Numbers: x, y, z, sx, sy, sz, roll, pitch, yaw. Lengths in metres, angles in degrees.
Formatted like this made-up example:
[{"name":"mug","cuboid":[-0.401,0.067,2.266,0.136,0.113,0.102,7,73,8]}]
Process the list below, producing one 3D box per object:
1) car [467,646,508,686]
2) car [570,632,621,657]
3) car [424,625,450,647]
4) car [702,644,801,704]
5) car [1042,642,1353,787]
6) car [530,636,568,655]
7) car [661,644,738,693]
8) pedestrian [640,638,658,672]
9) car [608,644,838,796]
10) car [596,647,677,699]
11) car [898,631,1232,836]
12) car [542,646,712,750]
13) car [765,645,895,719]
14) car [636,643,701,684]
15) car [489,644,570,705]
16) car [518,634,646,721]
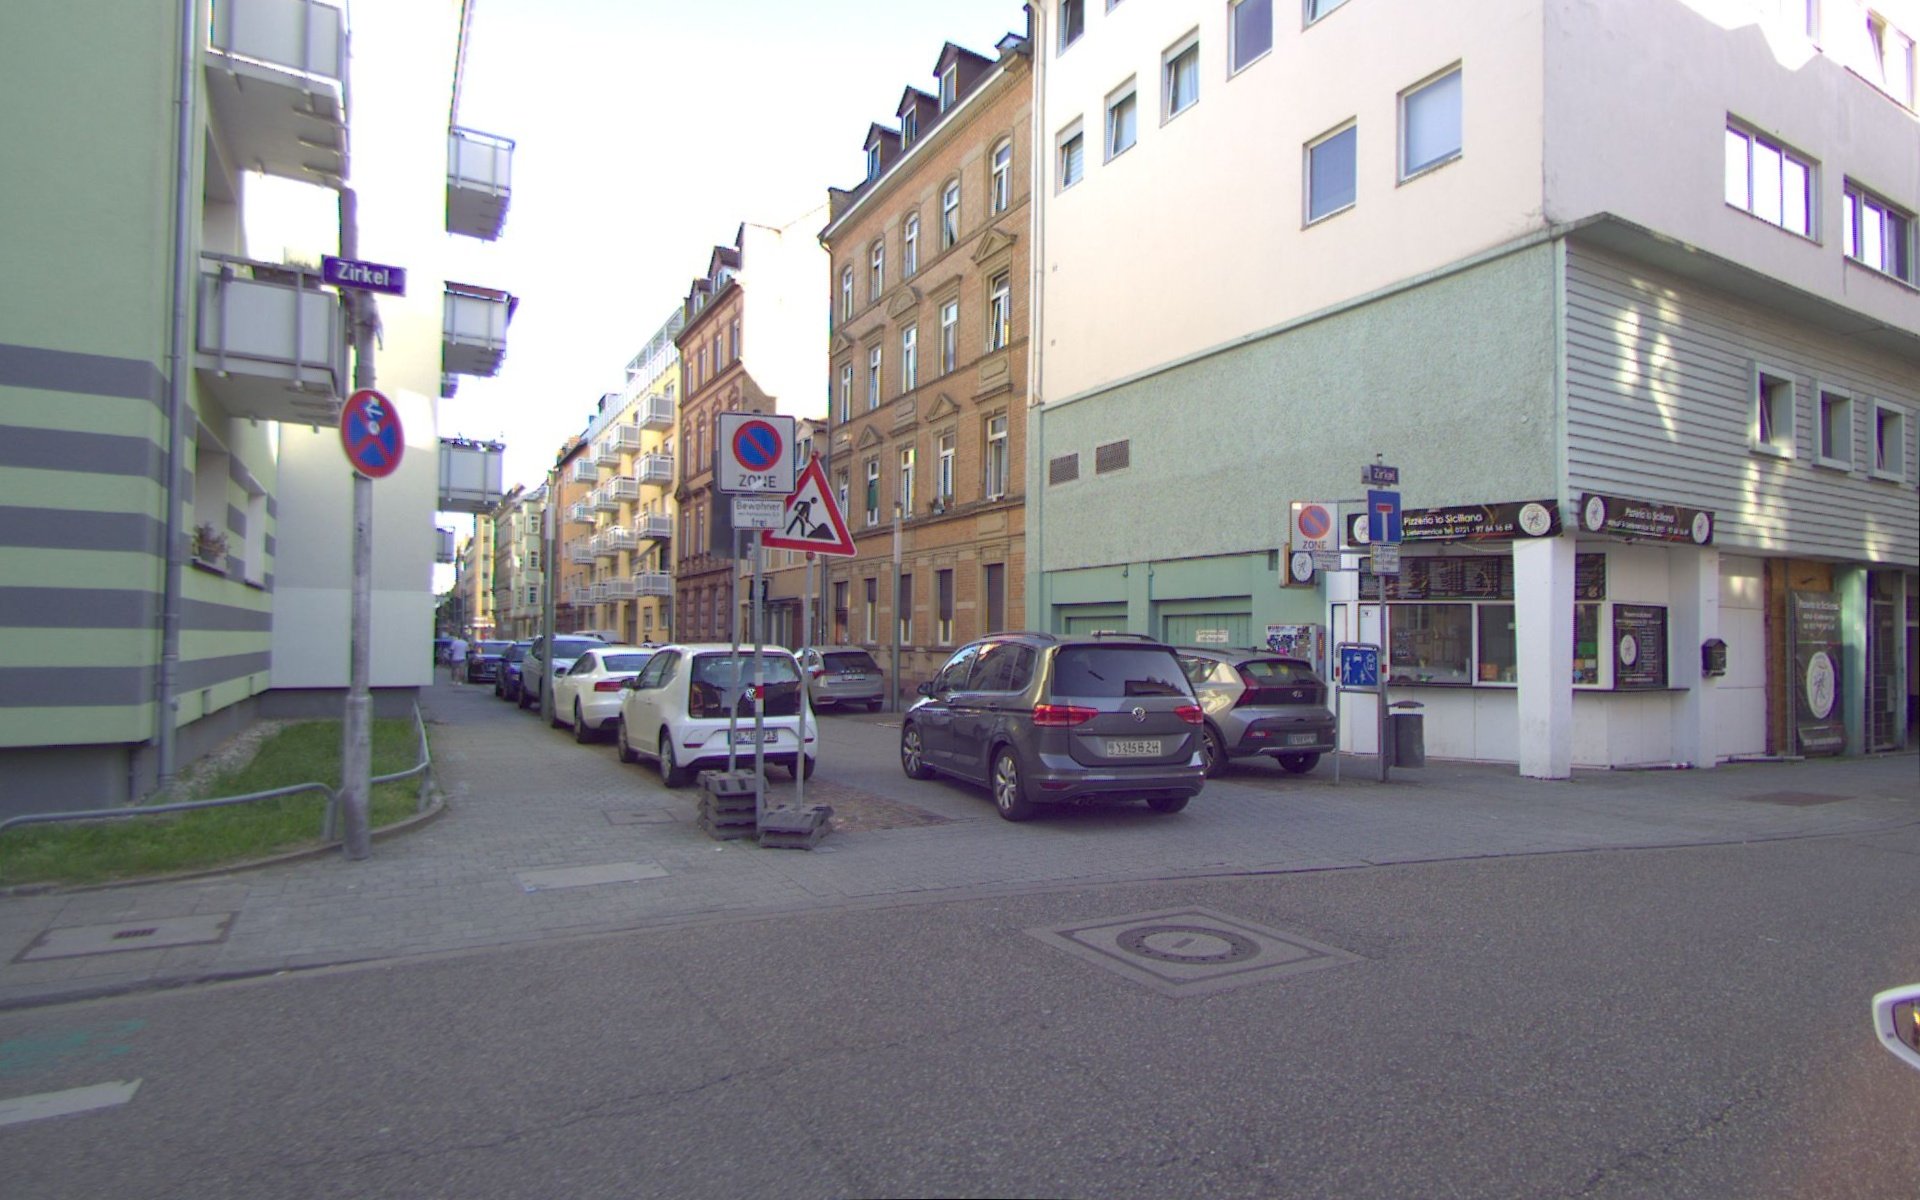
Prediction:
[{"name":"car","cuboid":[-16.494,2.267,35.031,1.242,1.307,3.063,0,-2,-26]},{"name":"car","cuboid":[-18.507,2.232,50.991,1.768,1.202,3.055,1,-2,-34]},{"name":"car","cuboid":[-37.896,2.603,72.777,1.566,1.527,3.873,2,-3,-28]},{"name":"car","cuboid":[-5.923,2.021,28.264,1.764,1.501,3.886,0,-2,-27]},{"name":"car","cuboid":[2.865,1.326,12.932,1.673,1.540,3.913,2,-3,-30]},{"name":"car","cuboid":[-26.807,2.966,65.446,1.768,1.202,3.055,1,-2,-34]},{"name":"car","cuboid":[-8.965,2.286,34.339,1.764,1.501,3.886,0,-2,-27]},{"name":"pedestrian","cuboid":[-15.223,2.677,49.180,0.683,1.602,0.630,2,0,-33]},{"name":"car","cuboid":[-2.880,1.271,11.739,1.705,1.455,3.318,2,-3,-30]},{"name":"car","cuboid":[-9.596,2.098,29.625,1.566,1.400,3.873,2,-3,-28]},{"name":"car","cuboid":[0.774,1.133,10.050,1.759,1.589,4.153,2,-3,-19]},{"name":"car","cuboid":[-5.502,1.477,16.239,1.739,1.416,4.294,2,-3,-30]},{"name":"car","cuboid":[-3.089,1.813,23.179,1.764,1.501,3.886,0,-2,-27]},{"name":"car","cuboid":[-11.140,2.377,38.267,1.764,1.426,3.462,0,-2,-27]},{"name":"car","cuboid":[-10.965,1.832,25.505,1.469,1.408,3.377,0,-2,-31]},{"name":"car","cuboid":[-8.049,1.541,21.154,1.740,1.632,4.111,0,-2,-32]}]
